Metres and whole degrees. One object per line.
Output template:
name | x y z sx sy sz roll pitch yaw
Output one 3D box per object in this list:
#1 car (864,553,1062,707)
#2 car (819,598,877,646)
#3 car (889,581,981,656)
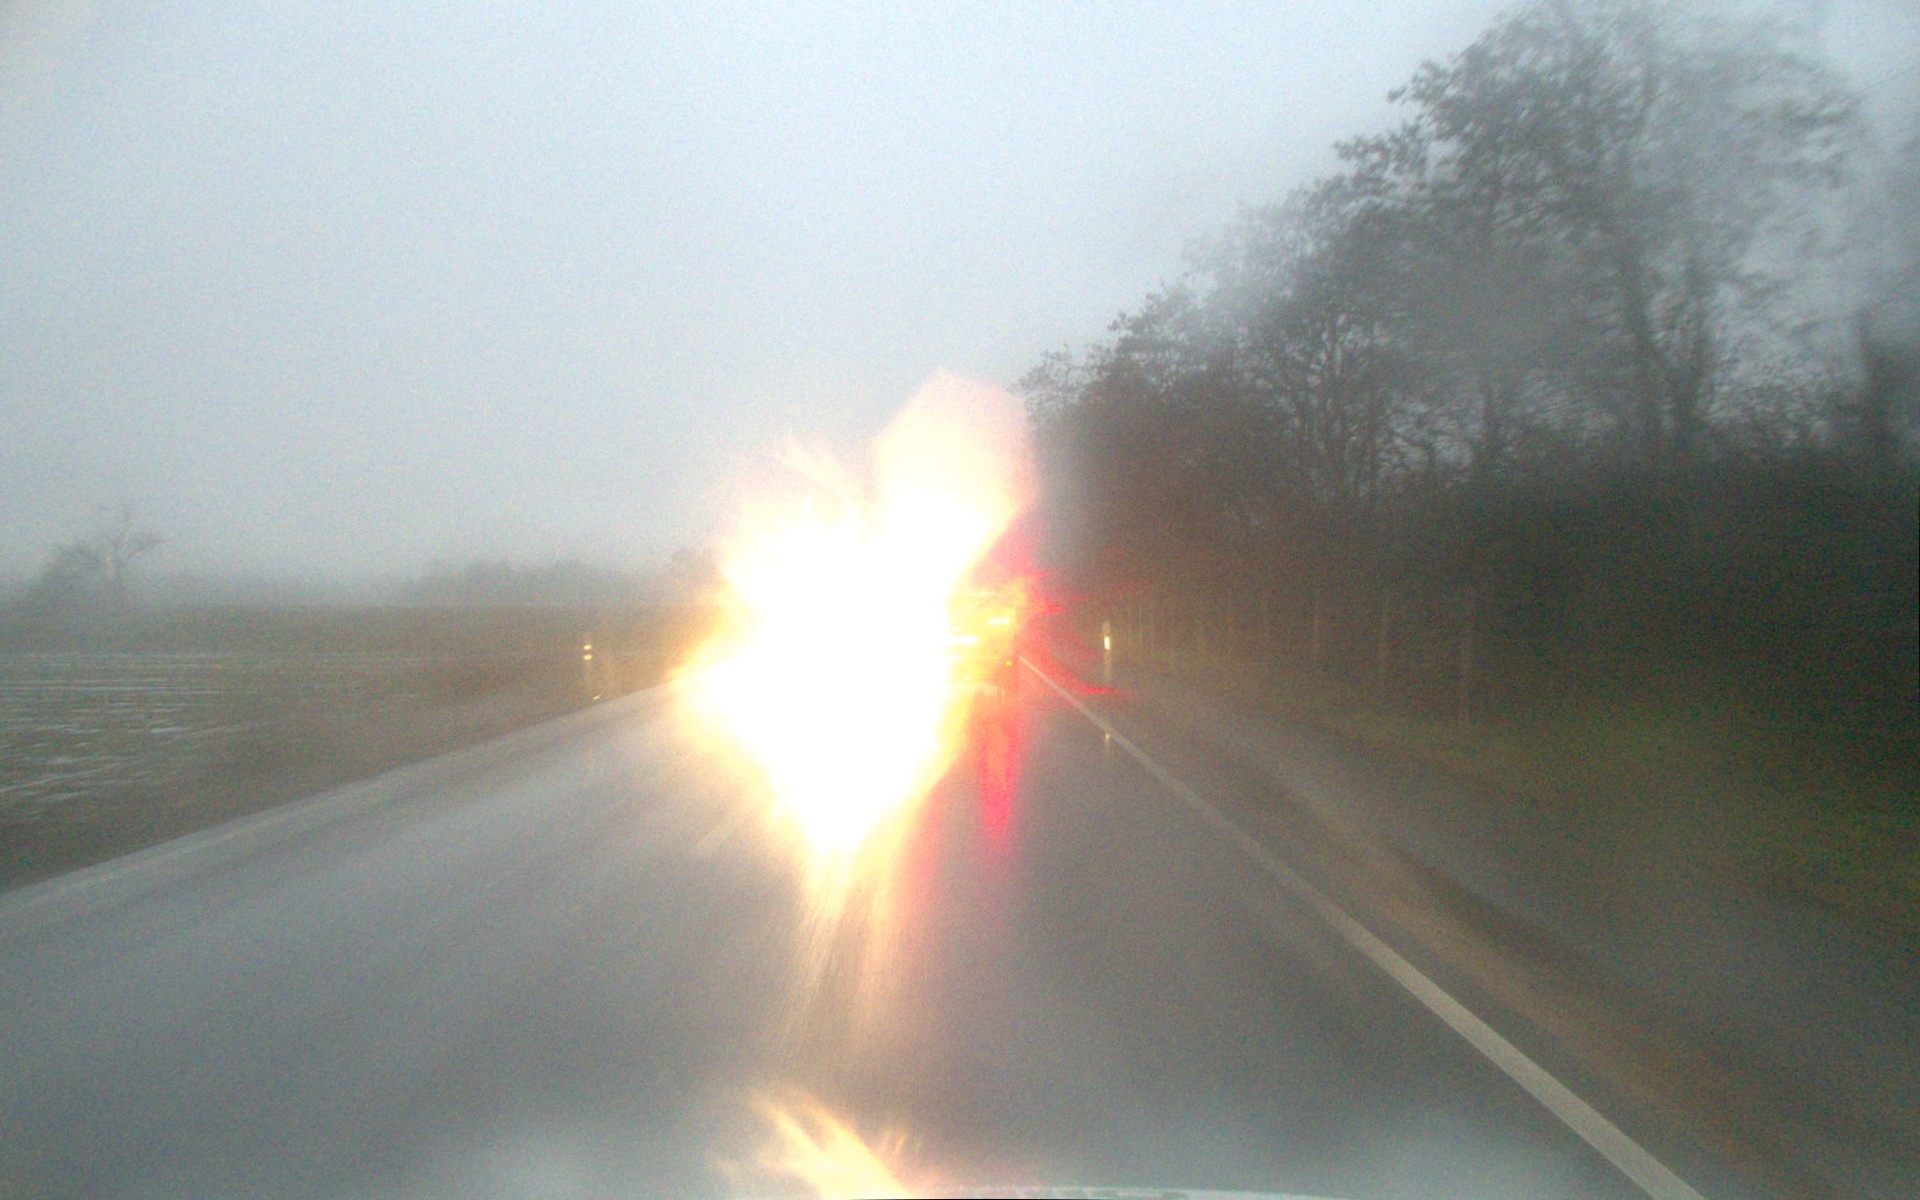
car | 0.058 0.433 26.318 2.762 2.113 5.804 1 0 0
car | -3.683 0.699 54.924 1.693 1.438 4.022 -3 0 -1
car | -0.684 0.521 48.945 2.539 2.049 5.804 1 0 0
